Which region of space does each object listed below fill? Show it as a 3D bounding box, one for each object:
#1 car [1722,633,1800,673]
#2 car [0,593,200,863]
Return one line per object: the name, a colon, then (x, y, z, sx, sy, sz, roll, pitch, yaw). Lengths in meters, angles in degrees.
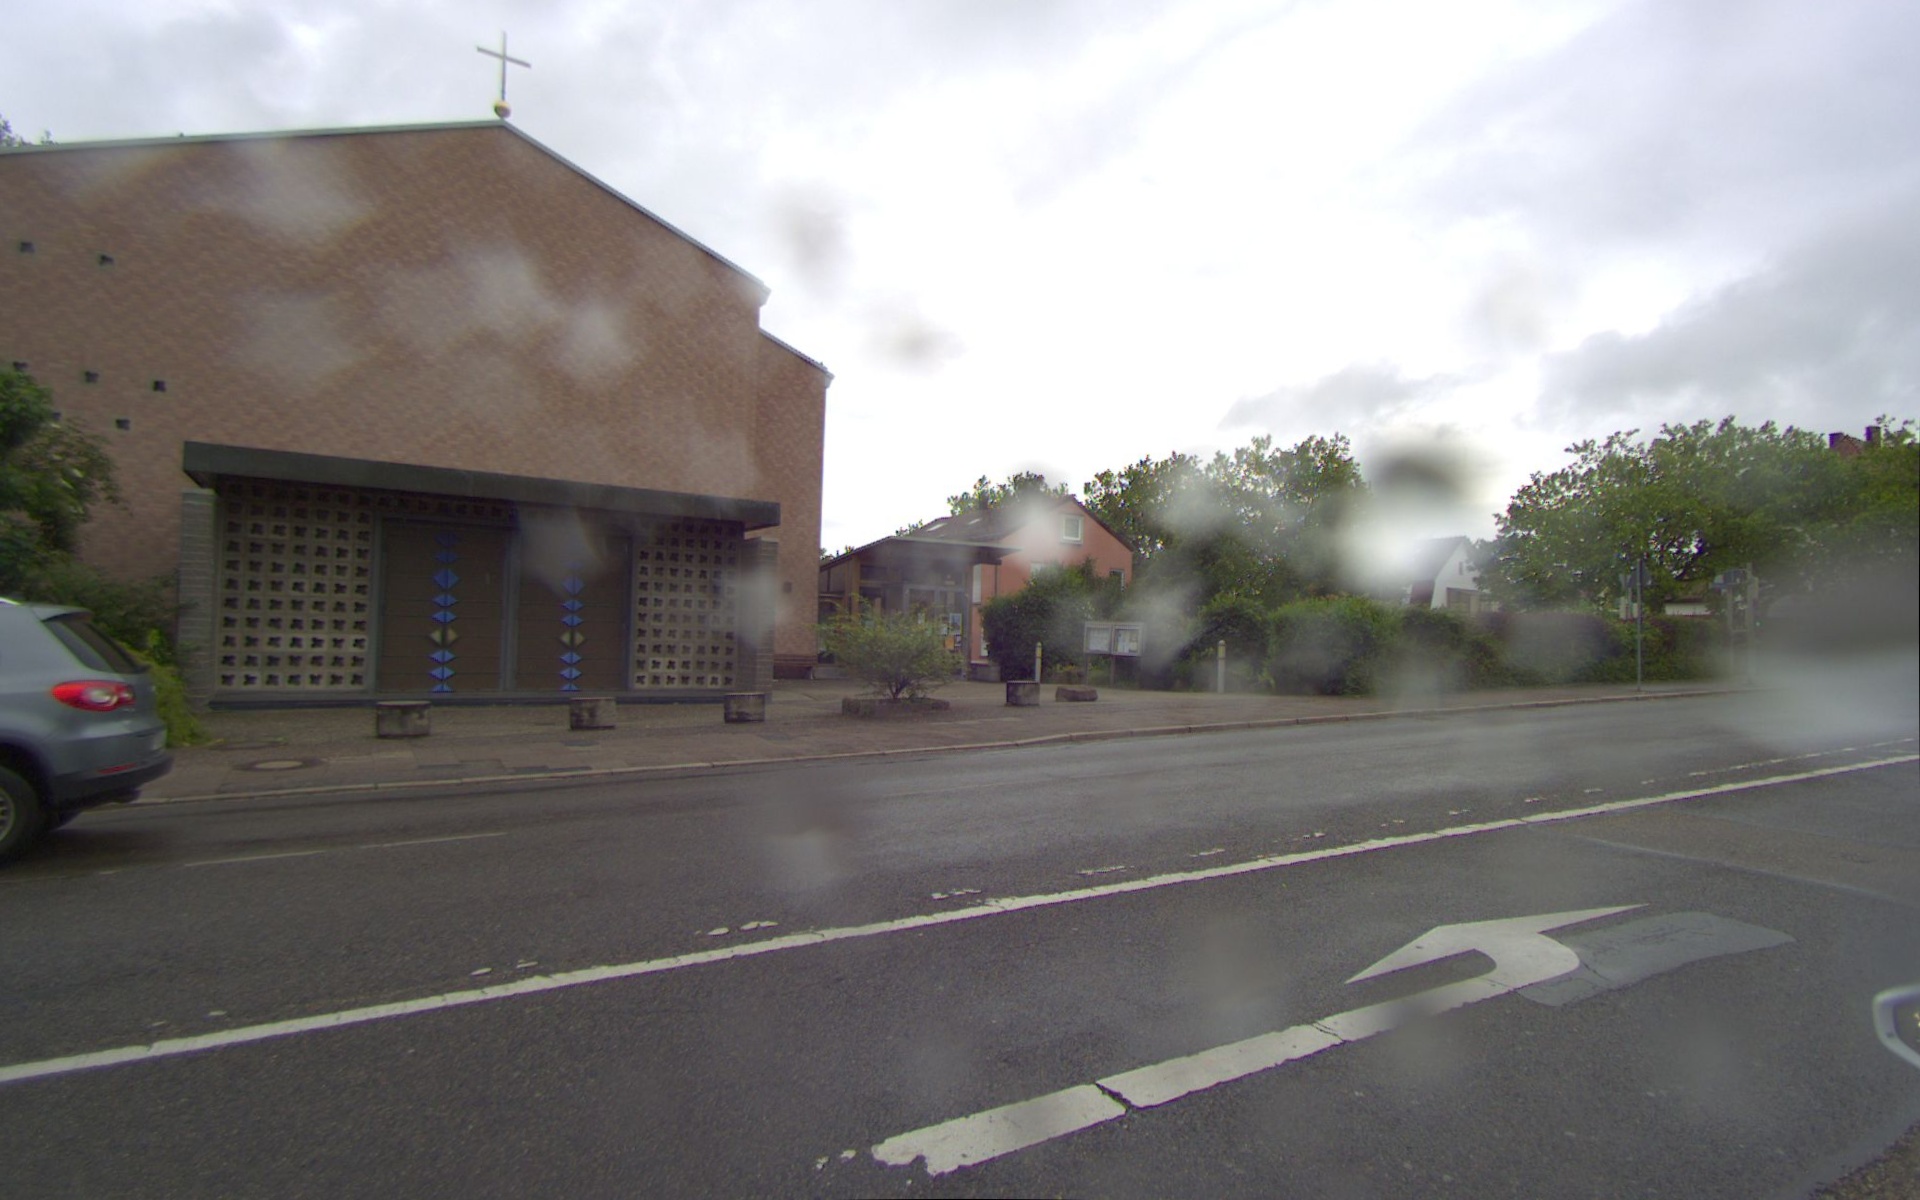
car: (39.118, 2.537, 49.026, 3.955, 1.573, 1.798, -3, 2, -32)
car: (-7.368, 0.766, 6.050, 4.271, 1.611, 1.897, 1, -3, -33)
